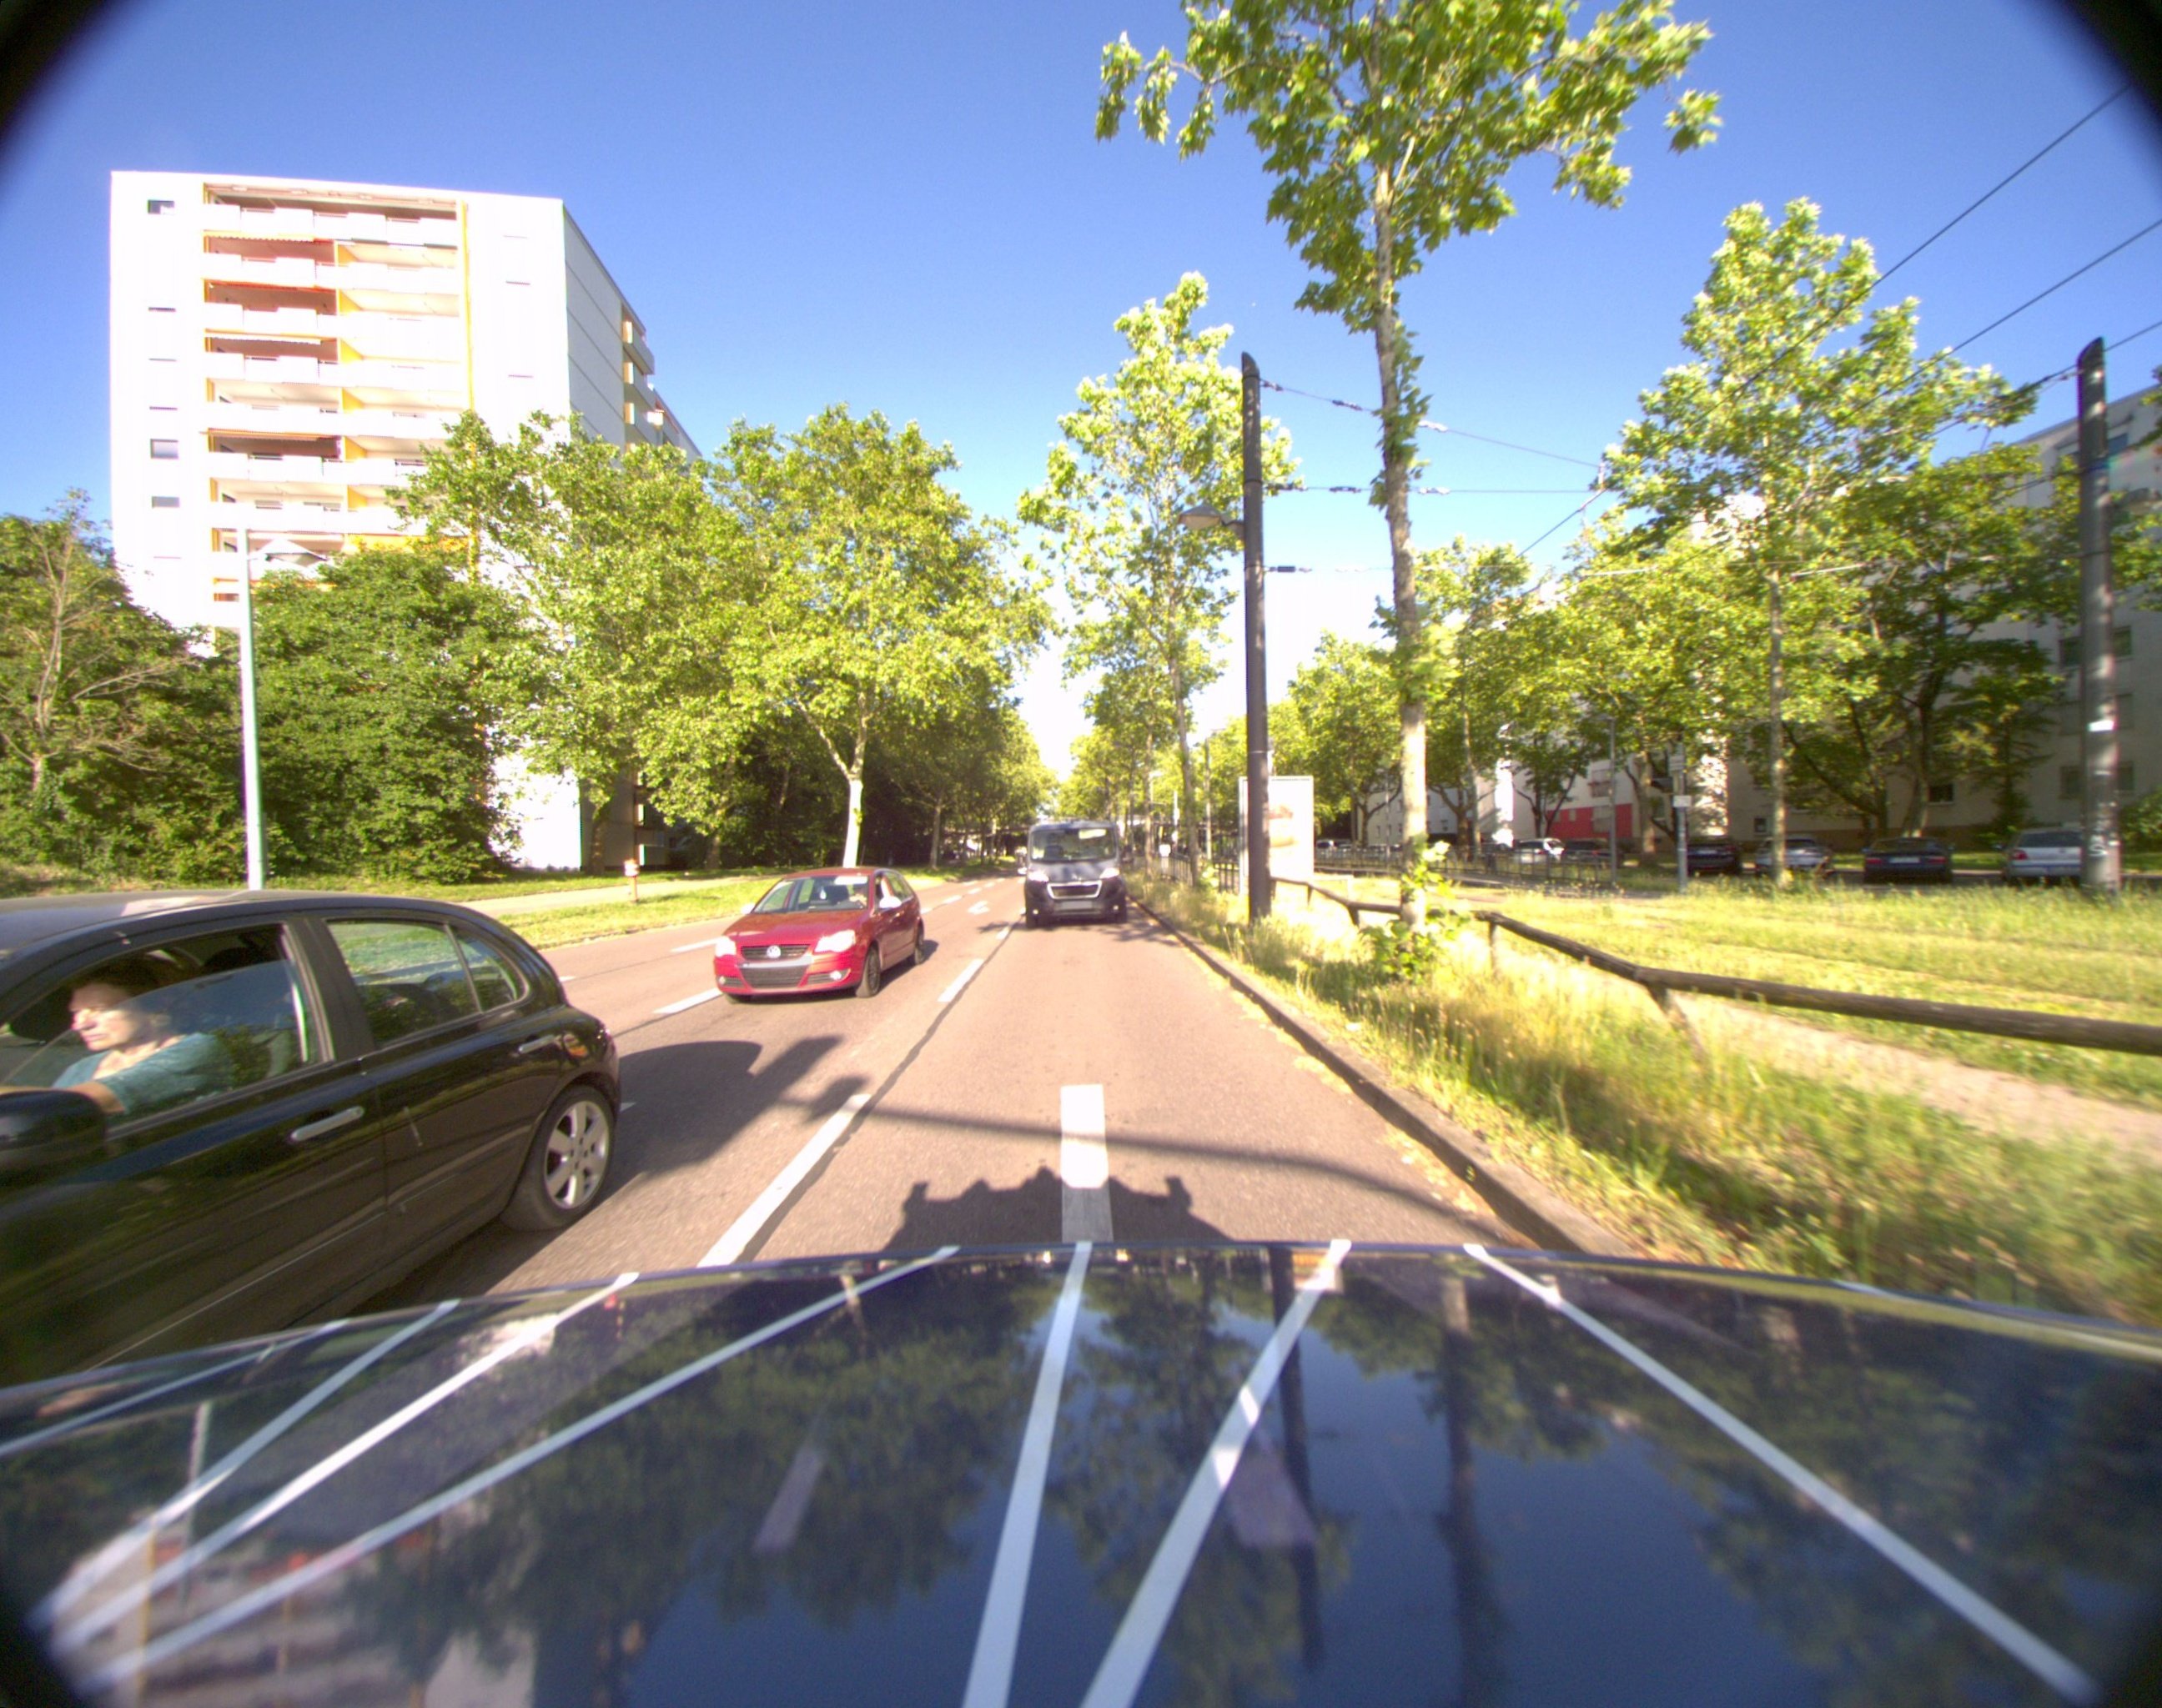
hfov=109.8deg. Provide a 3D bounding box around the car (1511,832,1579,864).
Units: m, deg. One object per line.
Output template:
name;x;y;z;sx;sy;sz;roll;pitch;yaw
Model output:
car;24.008;-0.336;39.273;4.057;1.490;1.791;-3;0;-41

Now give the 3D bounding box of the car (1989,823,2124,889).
car;24.436;0.021;19.168;4.057;1.478;1.760;-3;0;-42

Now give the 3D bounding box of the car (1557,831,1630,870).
car;24.179;-0.192;35.774;4.057;1.654;1.791;-3;0;-41

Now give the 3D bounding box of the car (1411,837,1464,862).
car;23.701;-0.293;50.505;4.057;1.490;1.791;-3;0;-44

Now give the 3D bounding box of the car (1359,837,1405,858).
car;23.897;-0.558;60.278;4.057;1.490;1.791;-3;0;-44

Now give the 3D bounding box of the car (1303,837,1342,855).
car;23.189;-0.772;72.963;4.057;1.490;1.791;-3;0;-44

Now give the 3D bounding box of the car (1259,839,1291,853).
car;23.533;-0.988;91.961;4.057;1.490;1.791;-3;0;-44

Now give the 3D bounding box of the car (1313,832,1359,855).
car;23.384;-0.960;69.618;4.440;1.908;2.016;-3;0;-44

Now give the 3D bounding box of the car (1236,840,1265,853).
car;22.877;-1.026;102.516;4.057;1.490;1.791;-3;0;-44

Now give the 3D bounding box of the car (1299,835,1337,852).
car;23.828;-1.035;76.278;4.057;1.490;1.791;-3;0;-44

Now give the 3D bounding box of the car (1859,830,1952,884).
car;23.919;0.067;22.057;4.057;1.380;1.673;-3;0;-42

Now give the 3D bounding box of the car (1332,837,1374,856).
car;23.934;-0.661;66.759;4.057;1.490;1.791;-3;0;-44

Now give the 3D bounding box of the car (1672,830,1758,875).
car;23.858;-0.089;28.529;4.057;1.490;1.791;-3;0;-41

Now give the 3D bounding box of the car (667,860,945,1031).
car;-3.105;0.917;9.777;1.772;1.549;4.726;-2;0;0

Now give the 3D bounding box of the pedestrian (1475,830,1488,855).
pedestrian;32.051;-0.897;60.840;0.681;2.002;0.645;-2;1;-4

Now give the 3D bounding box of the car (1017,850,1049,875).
car;-3.283;0.531;51.511;1.914;1.549;4.723;-2;0;-6

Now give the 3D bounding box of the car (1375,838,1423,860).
car;24.095;-0.404;57.535;4.057;1.490;1.791;-3;0;-44

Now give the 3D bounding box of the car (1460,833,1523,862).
car;23.322;-0.369;43.128;4.057;1.490;1.791;-3;0;-41

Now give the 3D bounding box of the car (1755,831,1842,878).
car;24.080;-0.005;25.454;4.057;1.380;1.791;-3;0;-42

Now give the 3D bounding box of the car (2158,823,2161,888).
car;23.893;0.068;15.426;4.057;1.478;1.810;-3;0;-42

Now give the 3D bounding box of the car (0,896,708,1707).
car;-3.033;1.020;2.119;1.739;1.474;4.621;-2;0;-1

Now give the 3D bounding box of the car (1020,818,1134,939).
car;-0.154;0.415;16.906;2.040;2.191;5.659;-2;1;-2

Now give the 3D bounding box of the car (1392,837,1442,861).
car;24.078;-0.369;54.336;4.057;1.490;1.791;-3;0;-44
